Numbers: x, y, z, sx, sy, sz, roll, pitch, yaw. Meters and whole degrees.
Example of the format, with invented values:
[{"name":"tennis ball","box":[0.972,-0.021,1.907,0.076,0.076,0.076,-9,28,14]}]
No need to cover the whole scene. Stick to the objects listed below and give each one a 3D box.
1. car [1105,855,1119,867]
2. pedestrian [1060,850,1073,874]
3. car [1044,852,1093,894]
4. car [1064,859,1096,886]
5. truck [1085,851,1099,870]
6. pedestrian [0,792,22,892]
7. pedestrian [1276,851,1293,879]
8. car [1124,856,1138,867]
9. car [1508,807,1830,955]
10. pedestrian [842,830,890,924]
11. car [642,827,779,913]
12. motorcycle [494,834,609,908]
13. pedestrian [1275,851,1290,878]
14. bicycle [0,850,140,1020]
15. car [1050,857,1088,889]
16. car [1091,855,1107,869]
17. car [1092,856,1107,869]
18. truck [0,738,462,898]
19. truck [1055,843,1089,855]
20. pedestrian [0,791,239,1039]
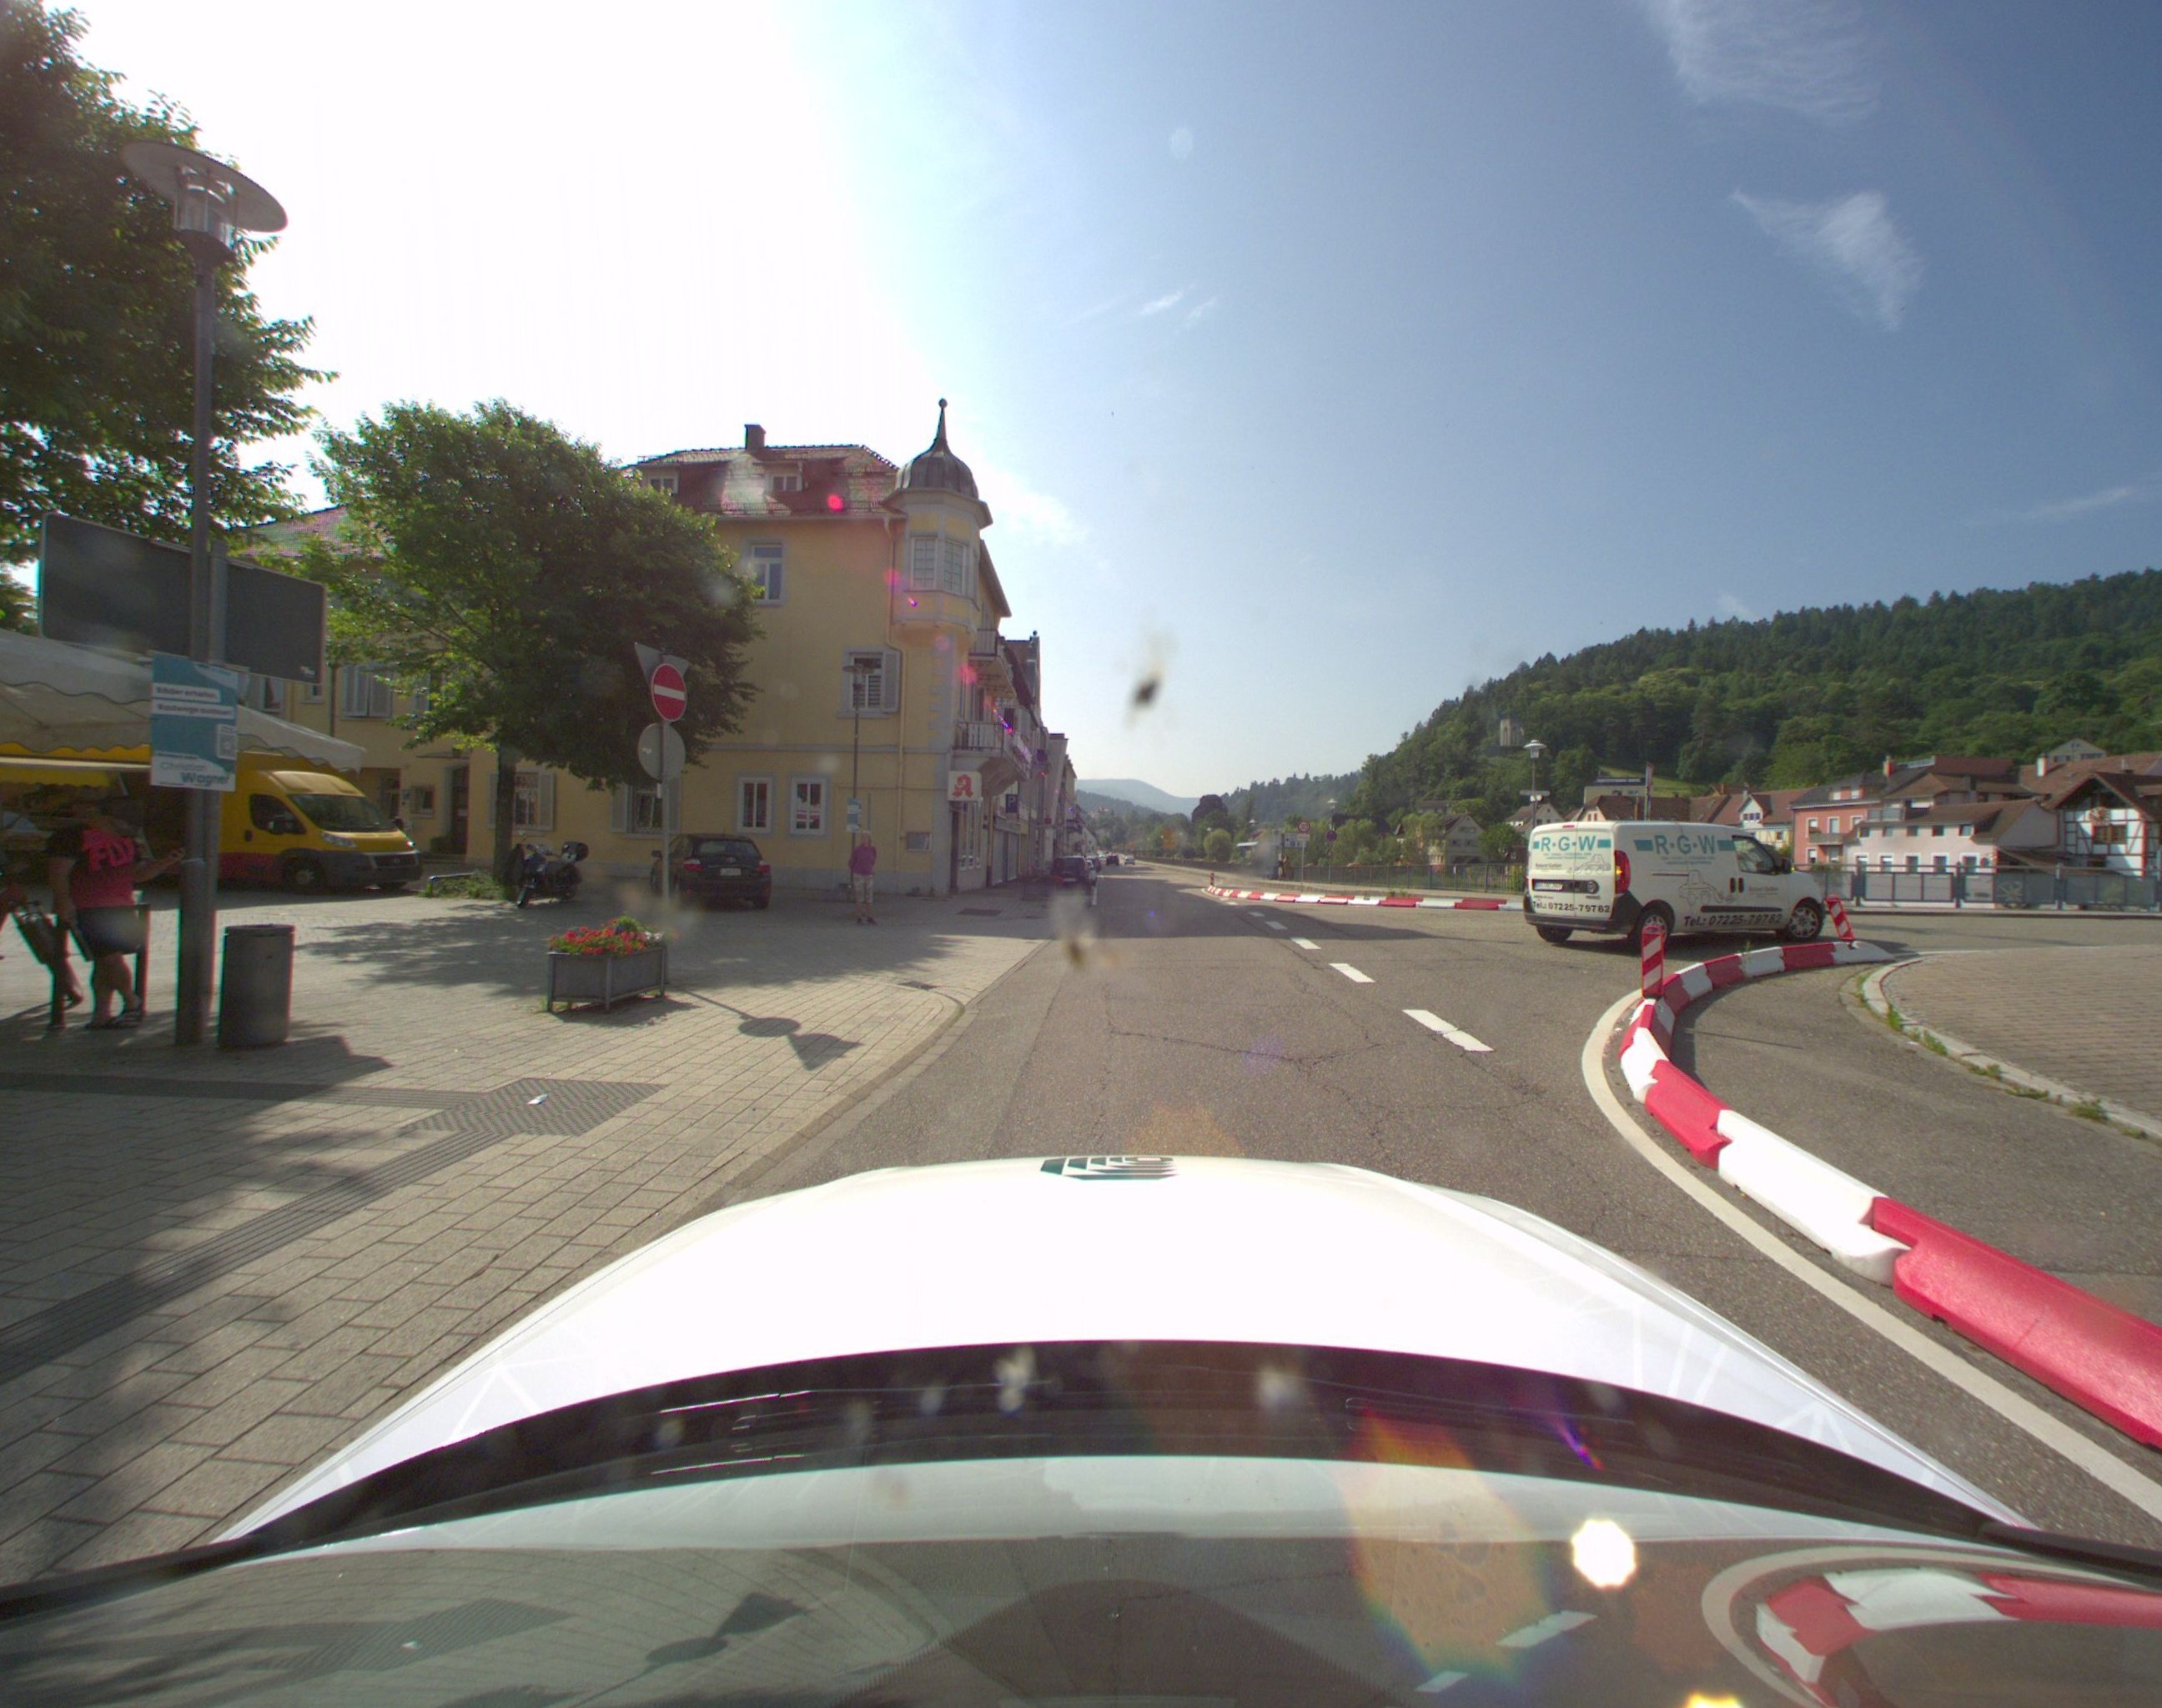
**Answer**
[{"name":"car","box":[4.684,1.002,122.887,1.986,1.662,4.002,2,0,2]},{"name":"pedestrian","box":[-1.020,0.545,57.063,0.682,1.696,0.664,0,0,29]},{"name":"car","box":[-0.464,0.736,32.714,1.840,1.568,3.568,0,0,0]},{"name":"car","box":[-0.009,1.024,46.533,1.741,1.447,3.795,0,0,0]},{"name":"truck","box":[1.383,0.831,105.033,1.741,2.468,4.661,0,0,1]},{"name":"pedestrian","box":[-19.508,-0.220,14.361,0.723,1.786,0.680,2,2,-7]},{"name":"pedestrian","box":[12.674,0.651,50.642,0.863,1.706,0.778,1,0,3]},{"name":"car","box":[8.059,1.240,131.589,1.986,1.662,4.002,2,0,2]},{"name":"car","box":[8.885,0.298,12.354,4.314,1.906,1.839,-2,2,-19]},{"name":"pedestrian","box":[-4.075,0.423,15.439,0.683,1.714,0.611,1,1,-36]},{"name":"car","box":[-8.007,0.273,17.410,1.931,1.542,3.917,2,2,-35]},{"name":"motorcycle","box":[-10.417,0.294,16.137,0.882,1.360,2.088,1,1,0]},{"name":"pedestrian","box":[12.677,0.667,51.289,0.786,1.706,0.492,1,0,3]},{"name":"bicycle","box":[-8.265,0.600,6.063,0.615,1.235,1.856,1,0,-11]},{"name":"car","box":[-0.532,0.873,38.761,1.741,1.447,3.276,0,0,0]},{"name":"car","box":[1.926,0.874,88.338,1.741,1.447,3.276,0,0,0]},{"name":"car","box":[1.858,0.843,82.399,1.558,1.220,3.276,0,0,0]},{"name":"truck","box":[-18.259,-0.753,16.695,8.800,2.757,3.012,2,1,1]},{"name":"truck","box":[-2.528,-1.350,229.216,9.200,3.264,3.062,1,0,-18]},{"name":"pedestrian","box":[-6.990,0.418,5.967,0.567,1.658,0.885,2,-2,8]}]
